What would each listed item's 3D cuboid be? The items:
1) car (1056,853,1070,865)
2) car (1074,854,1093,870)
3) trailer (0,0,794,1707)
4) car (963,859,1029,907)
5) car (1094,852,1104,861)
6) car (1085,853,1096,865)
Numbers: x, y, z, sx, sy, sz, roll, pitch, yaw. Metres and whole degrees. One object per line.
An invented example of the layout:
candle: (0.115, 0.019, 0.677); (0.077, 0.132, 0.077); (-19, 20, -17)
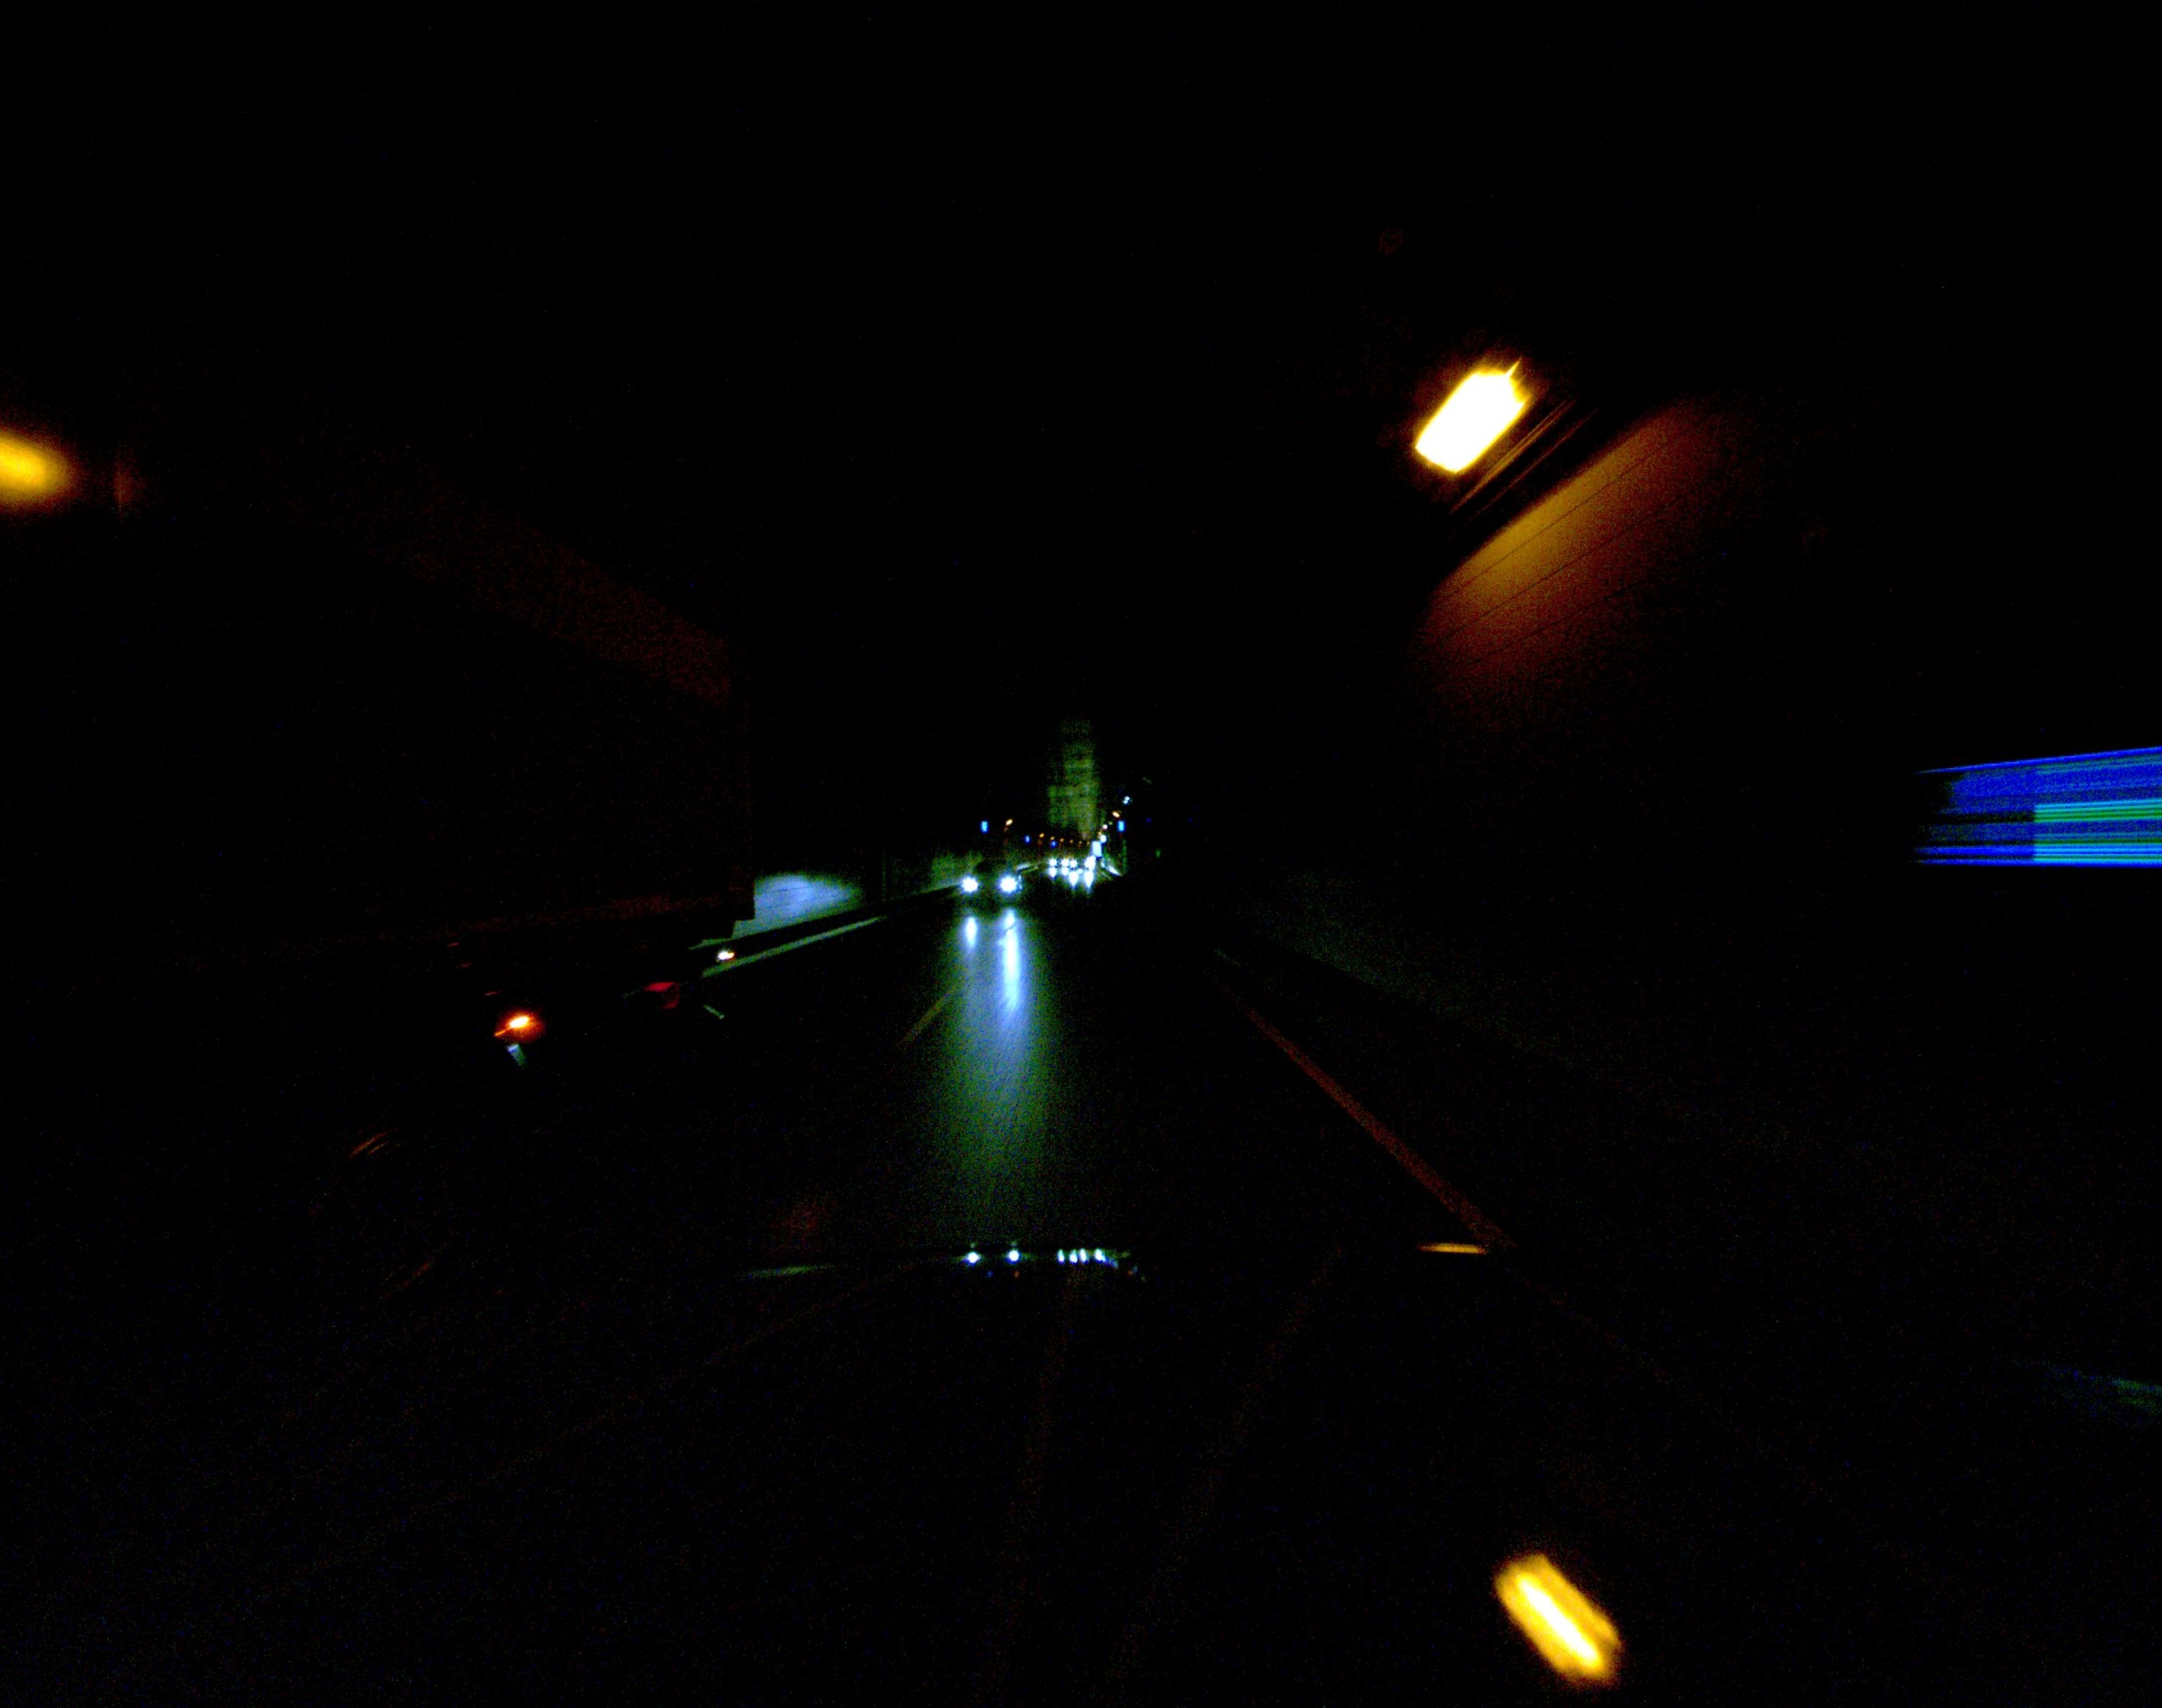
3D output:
car: (-2.290, 0.632, 97.660); (1.735, 1.565, 4.000); (-1, 0, 1)
car: (0.303, 0.796, 77.877); (1.820, 1.589, 4.000); (1, 0, 1)
trailer: (-3.405, -0.168, 0.503); (2.882, 3.836, 8.947); (-1, 0, 1)
car: (-2.846, 0.932, 26.155); (1.735, 1.395, 3.798); (-2, 1, 1)
car: (3.625, 0.505, 154.354); (1.811, 1.576, 4.001); (-1, 0, 4)
car: (1.431, 0.802, 118.358); (1.715, 1.729, 3.999); (-1, 2, 1)
